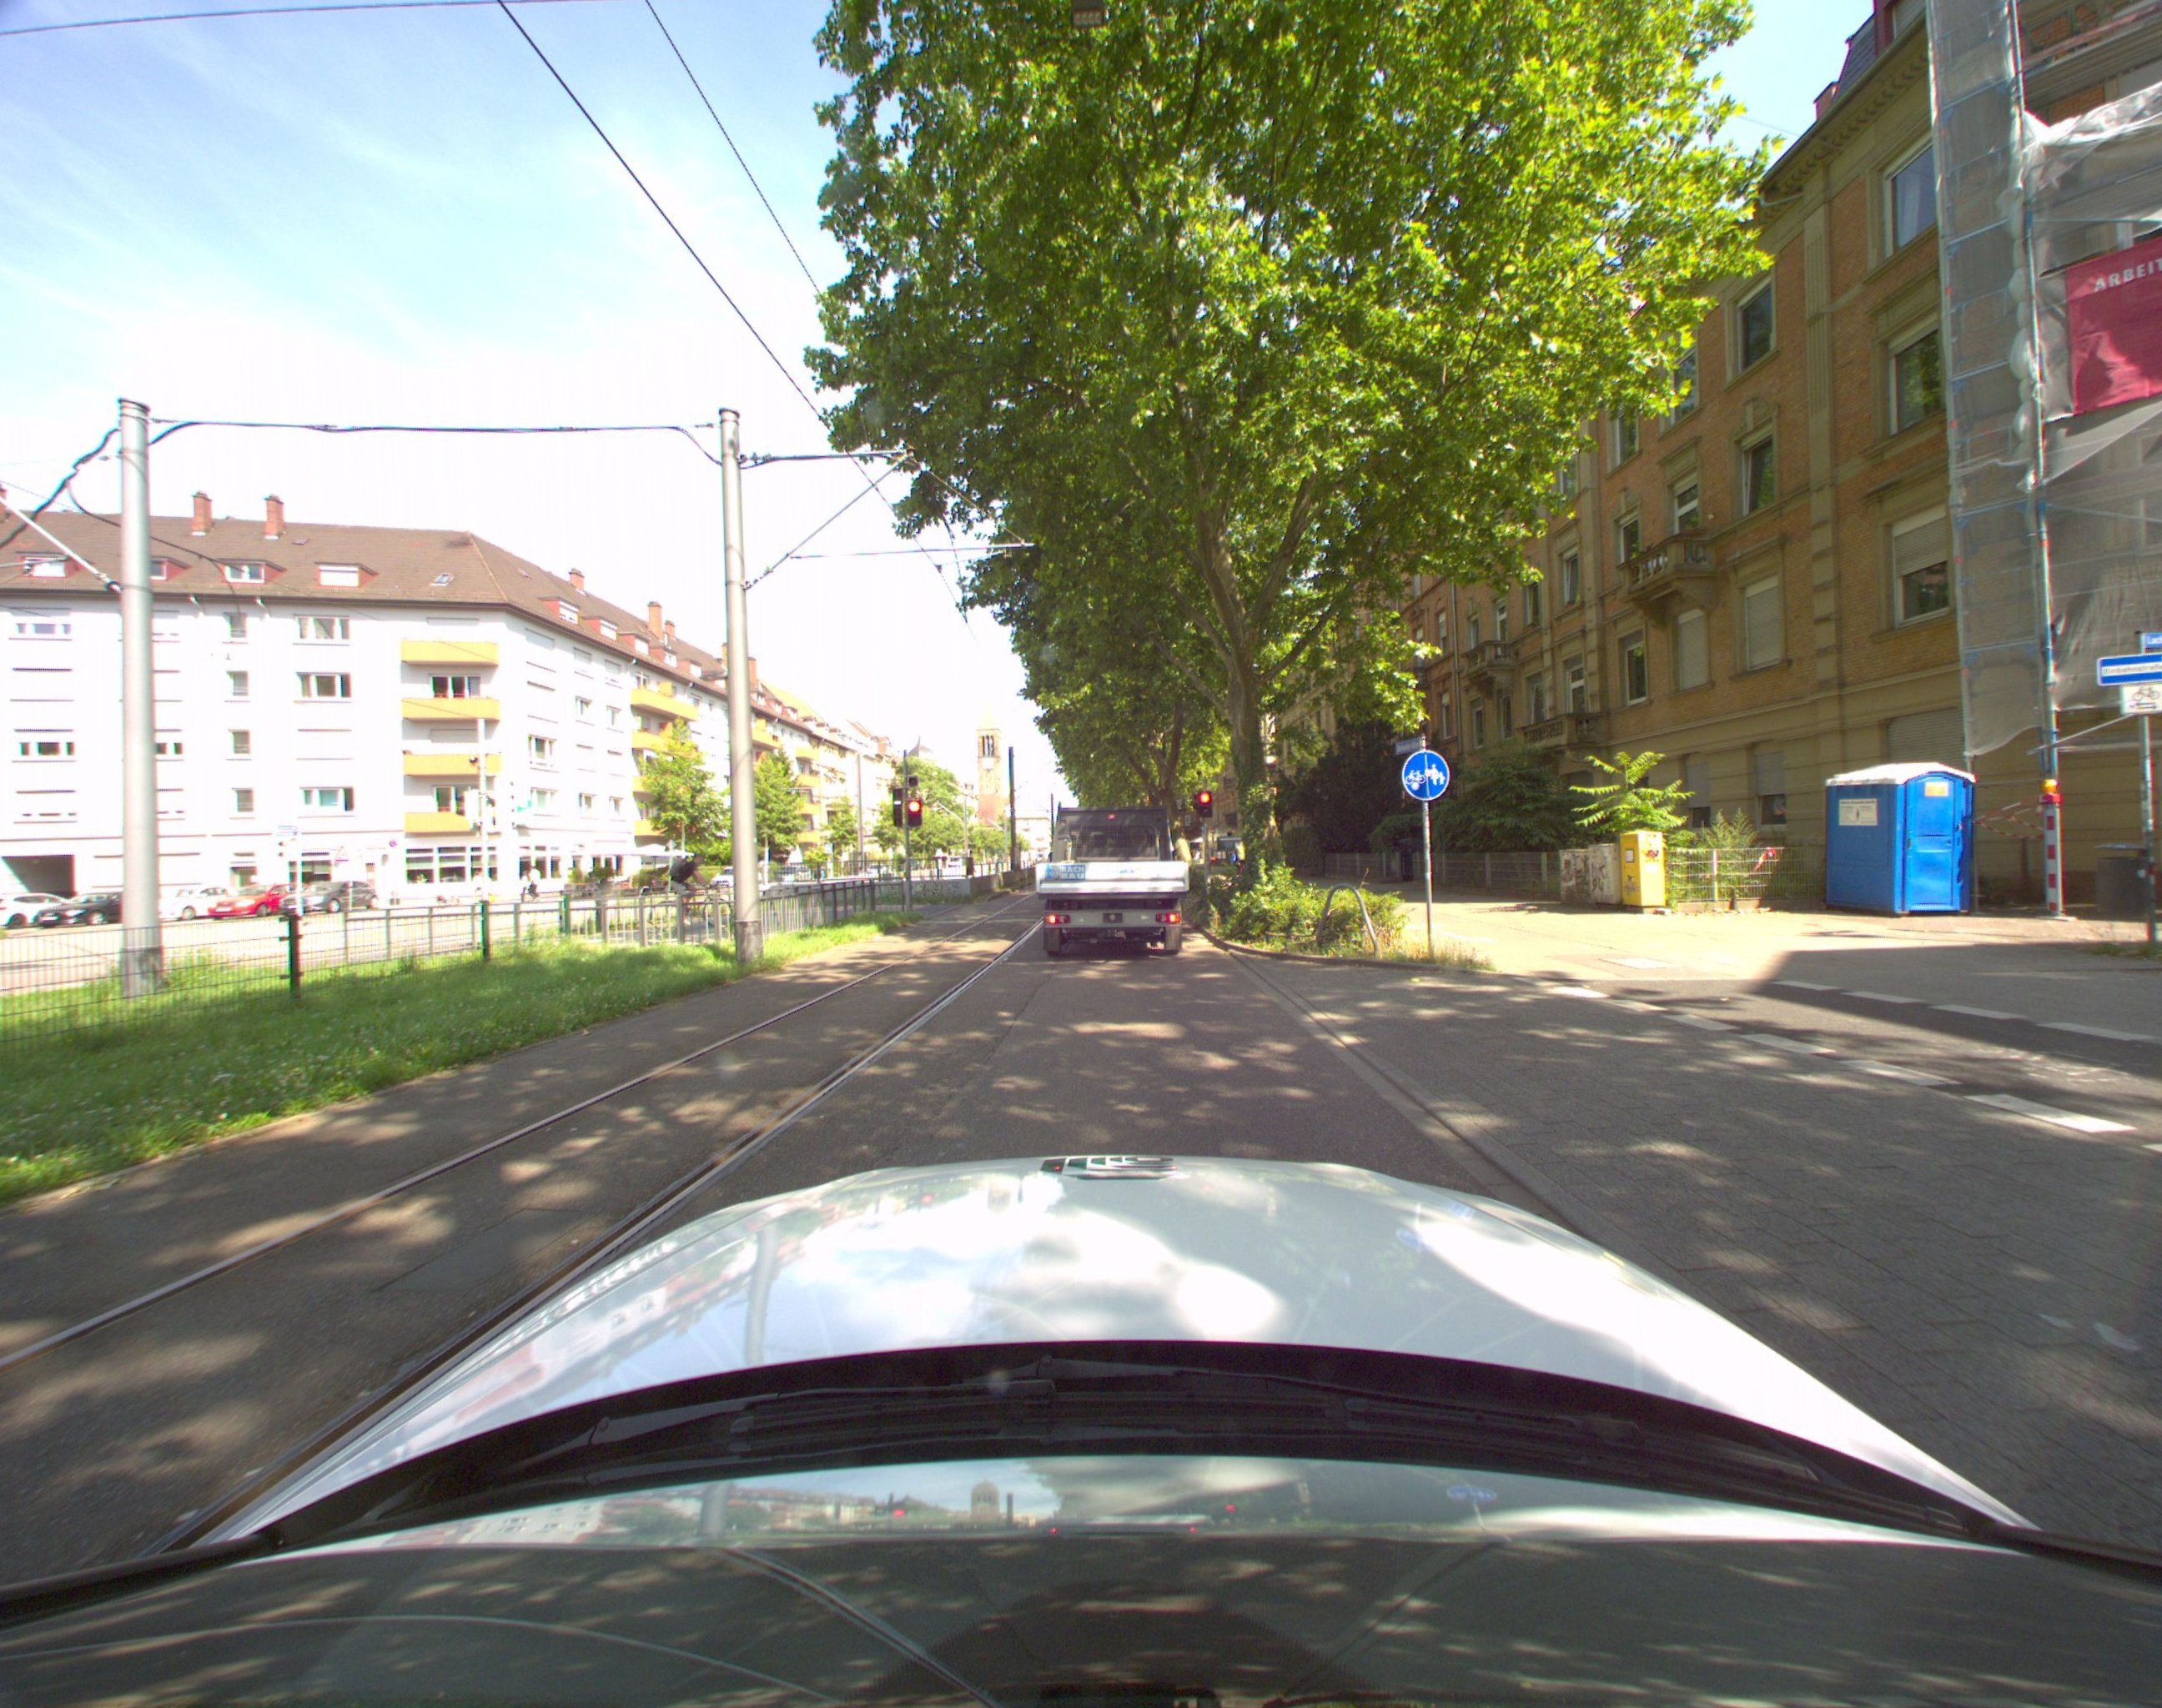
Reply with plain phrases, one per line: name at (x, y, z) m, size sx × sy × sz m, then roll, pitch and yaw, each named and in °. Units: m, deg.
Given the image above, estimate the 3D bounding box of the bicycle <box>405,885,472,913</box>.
bicycle at (-29.929, 2.069, 38.013) m, size 0.908 × 1.137 × 2.807 m, roll -2°, pitch 0°, yaw -2°

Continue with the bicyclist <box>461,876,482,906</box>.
bicyclist at (-29.992, 1.816, 40.086) m, size 0.624 × 1.423 × 0.587 m, roll -2°, pitch 0°, yaw -15°

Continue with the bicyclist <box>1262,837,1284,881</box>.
bicyclist at (6.908, 0.180, 29.314) m, size 0.635 × 1.573 × 0.580 m, roll -2°, pitch 0°, yaw 3°

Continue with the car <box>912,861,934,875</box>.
car at (-19.262, 1.694, 99.505) m, size 1.764 × 1.498 × 4.000 m, roll -2°, pitch 0°, yaw 0°

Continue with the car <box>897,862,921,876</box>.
car at (-19.335, 1.670, 91.665) m, size 1.764 × 1.498 × 4.000 m, roll -2°, pitch 0°, yaw 0°

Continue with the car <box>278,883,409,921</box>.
car at (-32.994, 2.099, 36.624) m, size 1.830 × 1.376 × 4.636 m, roll -2°, pitch 0°, yaw -4°

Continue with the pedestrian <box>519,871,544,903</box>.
pedestrian at (-27.655, 1.663, 40.994) m, size 0.861 × 1.572 × 0.685 m, roll -2°, pitch 0°, yaw -22°

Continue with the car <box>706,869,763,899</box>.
car at (-20.374, 1.733, 48.074) m, size 1.767 × 1.498 × 3.994 m, roll -4°, pitch 0°, yaw -4°

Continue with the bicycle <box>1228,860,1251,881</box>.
bicycle at (6.965, 0.717, 35.931) m, size 0.672 × 0.881 × 2.165 m, roll -2°, pitch 0°, yaw 3°

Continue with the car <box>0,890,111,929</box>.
car at (-44.468, 2.336, 34.517) m, size 1.930 × 1.406 × 4.158 m, roll -2°, pitch 0°, yaw -6°

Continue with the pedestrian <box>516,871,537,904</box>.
pedestrian at (-27.486, 1.665, 40.380) m, size 0.690 × 1.572 × 0.542 m, roll -2°, pitch 0°, yaw -23°

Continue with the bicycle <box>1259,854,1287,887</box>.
bicycle at (6.918, 0.581, 29.446) m, size 0.563 × 1.112 × 2.312 m, roll -2°, pitch 0°, yaw 3°

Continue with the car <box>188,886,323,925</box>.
car at (-36.351, 2.216, 36.048) m, size 1.930 × 1.406 × 4.158 m, roll -2°, pitch 0°, yaw -6°

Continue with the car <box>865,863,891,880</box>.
car at (-19.465, 1.627, 78.190) m, size 1.767 × 1.498 × 3.994 m, roll -2°, pitch 0°, yaw -4°

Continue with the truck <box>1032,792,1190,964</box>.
truck at (0.503, 0.325, 13.212) m, size 2.130 × 2.319 × 4.404 m, roll 0°, pitch 0°, yaw 3°

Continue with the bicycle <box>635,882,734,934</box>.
bicycle at (-9.012, 1.208, 18.548) m, size 1.934 × 1.049 × 0.527 m, roll -2°, pitch -1°, yaw -34°

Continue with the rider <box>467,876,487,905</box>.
rider at (-30.167, 1.814, 40.681) m, size 0.624 × 1.423 × 0.587 m, roll -2°, pitch 0°, yaw -15°

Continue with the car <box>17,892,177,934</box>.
car at (-41.689, 2.458, 34.670) m, size 1.930 × 1.406 × 4.158 m, roll -2°, pitch 0°, yaw -6°

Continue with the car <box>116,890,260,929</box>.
car at (-39.136, 2.395, 35.876) m, size 1.930 × 1.406 × 4.158 m, roll -2°, pitch 0°, yaw -6°

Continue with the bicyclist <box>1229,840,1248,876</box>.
bicyclist at (6.933, 0.177, 35.810) m, size 0.678 × 1.563 × 0.777 m, roll -2°, pitch 0°, yaw 2°

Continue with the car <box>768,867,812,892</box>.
car at (-20.154, 1.757, 56.507) m, size 1.767 × 1.498 × 3.994 m, roll -4°, pitch 0°, yaw -4°

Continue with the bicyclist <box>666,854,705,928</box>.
bicyclist at (-9.013, 0.833, 18.555) m, size 0.697 × 1.623 × 0.618 m, roll -2°, pitch 0°, yaw -33°
